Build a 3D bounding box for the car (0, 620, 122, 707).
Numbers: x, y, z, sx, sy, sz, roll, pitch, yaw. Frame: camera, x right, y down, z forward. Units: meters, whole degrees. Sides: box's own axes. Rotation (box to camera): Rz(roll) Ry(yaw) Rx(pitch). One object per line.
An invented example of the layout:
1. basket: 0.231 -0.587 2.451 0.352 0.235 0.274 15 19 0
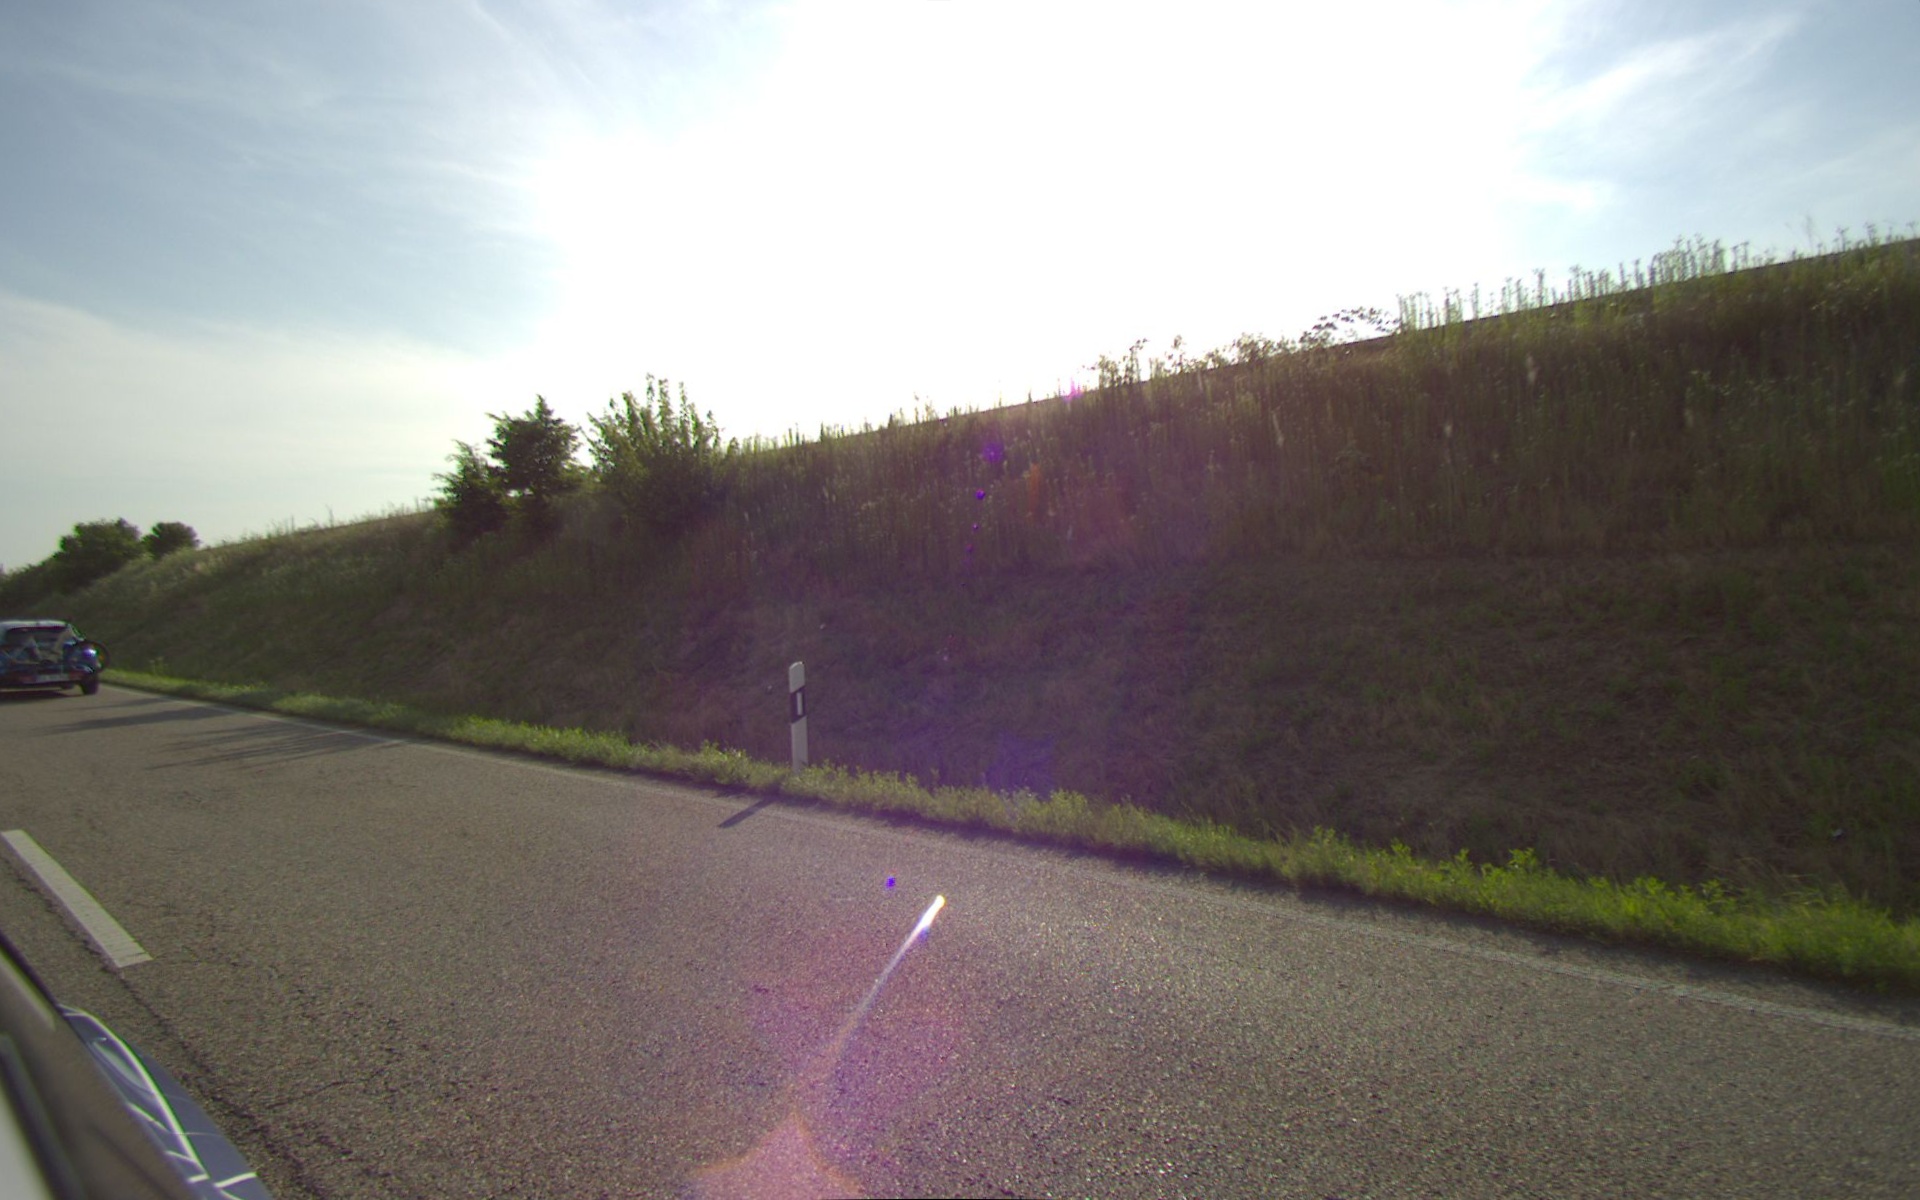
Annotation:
1. car: -19.478 1.275 21.211 5.337 1.585 2.119 -2 -1 41
